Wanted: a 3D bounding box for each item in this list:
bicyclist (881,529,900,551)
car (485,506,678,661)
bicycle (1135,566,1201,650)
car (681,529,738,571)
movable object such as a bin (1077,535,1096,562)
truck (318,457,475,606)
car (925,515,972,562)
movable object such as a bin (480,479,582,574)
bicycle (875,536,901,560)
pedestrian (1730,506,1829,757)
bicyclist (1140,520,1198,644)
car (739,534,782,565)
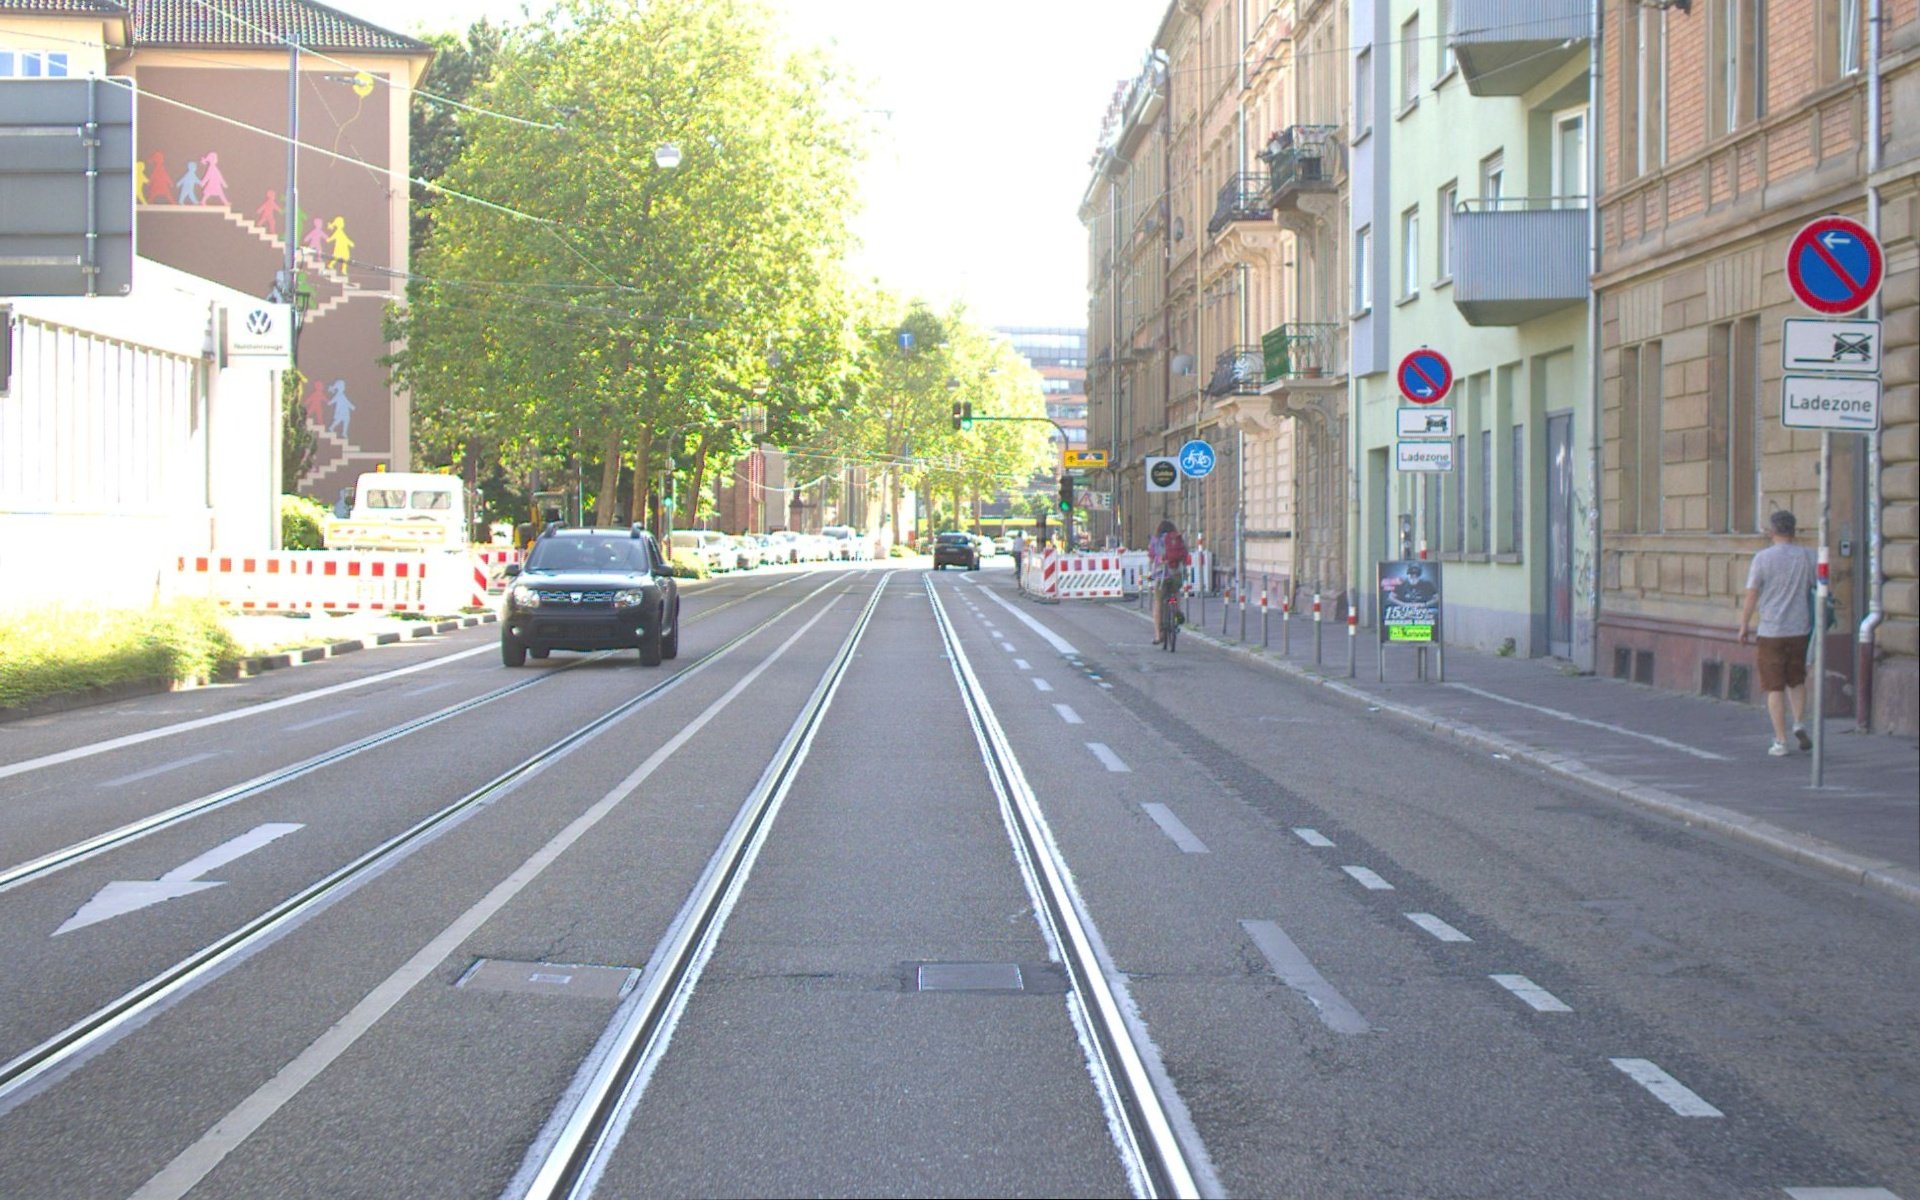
[{"bbox_3d":[-4.549,-3.942,225.047,1.078,1.423,1.146,2,0,8],"label":"bicyclist"},{"bbox_3d":[-4.428,-0.203,40.759,1.759,1.691,4.144,2,0,0],"label":"car"},{"bbox_3d":[2.884,0.093,47.890,0.681,1.110,2.707,2,1,-1],"label":"bicycle"},{"bbox_3d":[-9.867,-1.964,135.679,1.748,1.602,4.043,2,0,2],"label":"car"},{"bbox_3d":[4.788,-1.960,130.449,0.673,1.032,0.813,0,2,0],"label":"movable object such as a bin"},{"bbox_3d":[-11.445,-1.379,70.293,2.537,2.820,6.377,2,0,-4],"label":"truck"},{"bbox_3d":[-0.511,-2.761,154.754,1.993,2.007,4.000,2,0,0],"label":"car"},{"bbox_3d":[-12.598,-2.153,101.365,2.495,2.636,5.990,2,1,-3],"label":"movable object such as a bin"},{"bbox_3d":[-4.700,-3.400,225.103,1.234,1.567,2.896,2,0,7],"label":"bicycle"},{"bbox_3d":[5.625,0.211,23.620,0.553,1.695,0.474,-2,0,5],"label":"pedestrian"},{"bbox_3d":[2.901,-0.250,47.738,0.667,1.691,1.043,2,0,-1],"label":"bicyclist"},{"bbox_3d":[-10.076,-2.563,174.158,1.748,1.490,4.043,2,1,2],"label":"car"}]
